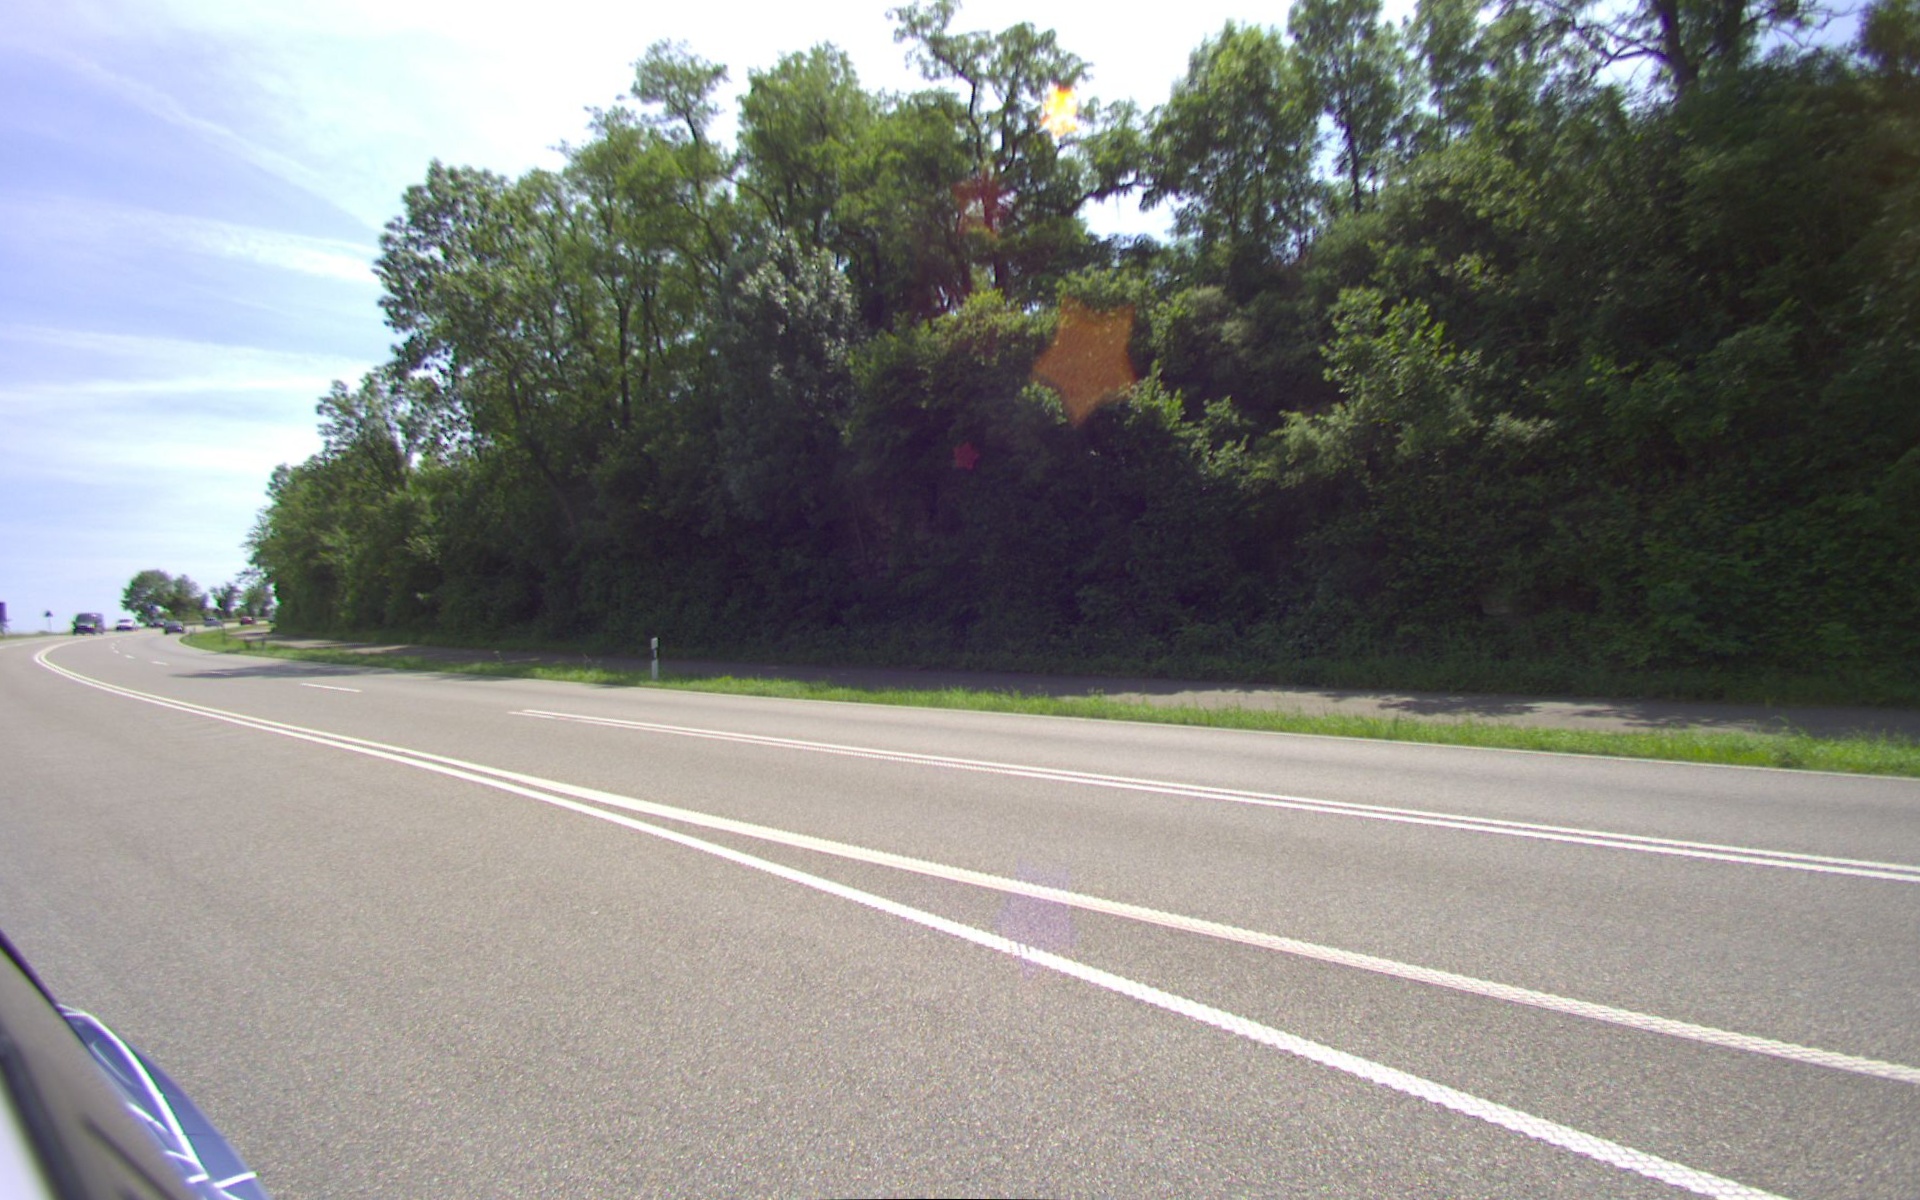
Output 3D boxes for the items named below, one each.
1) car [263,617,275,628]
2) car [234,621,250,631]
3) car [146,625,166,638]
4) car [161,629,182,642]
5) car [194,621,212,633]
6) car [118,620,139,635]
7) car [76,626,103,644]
[{"bbox_3d":[-130.716,4.173,191.493,1.788,2.029,3.881,0,0,-32],"label":"car"},{"bbox_3d":[-119.030,4.280,167.786,1.966,1.687,4.011,-1,-1,-34],"label":"car"},{"bbox_3d":[-124.273,4.904,156.447,1.737,1.874,3.822,0,0,-28],"label":"car"},{"bbox_3d":[-89.590,4.050,115.015,1.779,1.398,3.878,-1,-1,-37],"label":"car"},{"bbox_3d":[-119.766,4.296,160.107,1.929,1.741,3.921,-1,-1,-32],"label":"car"},{"bbox_3d":[-114.848,3.788,139.778,1.822,2.029,3.883,0,0,-32],"label":"car"},{"bbox_3d":[-102.147,4.145,118.797,1.966,2.029,4.011,-1,-1,-33],"label":"car"}]
